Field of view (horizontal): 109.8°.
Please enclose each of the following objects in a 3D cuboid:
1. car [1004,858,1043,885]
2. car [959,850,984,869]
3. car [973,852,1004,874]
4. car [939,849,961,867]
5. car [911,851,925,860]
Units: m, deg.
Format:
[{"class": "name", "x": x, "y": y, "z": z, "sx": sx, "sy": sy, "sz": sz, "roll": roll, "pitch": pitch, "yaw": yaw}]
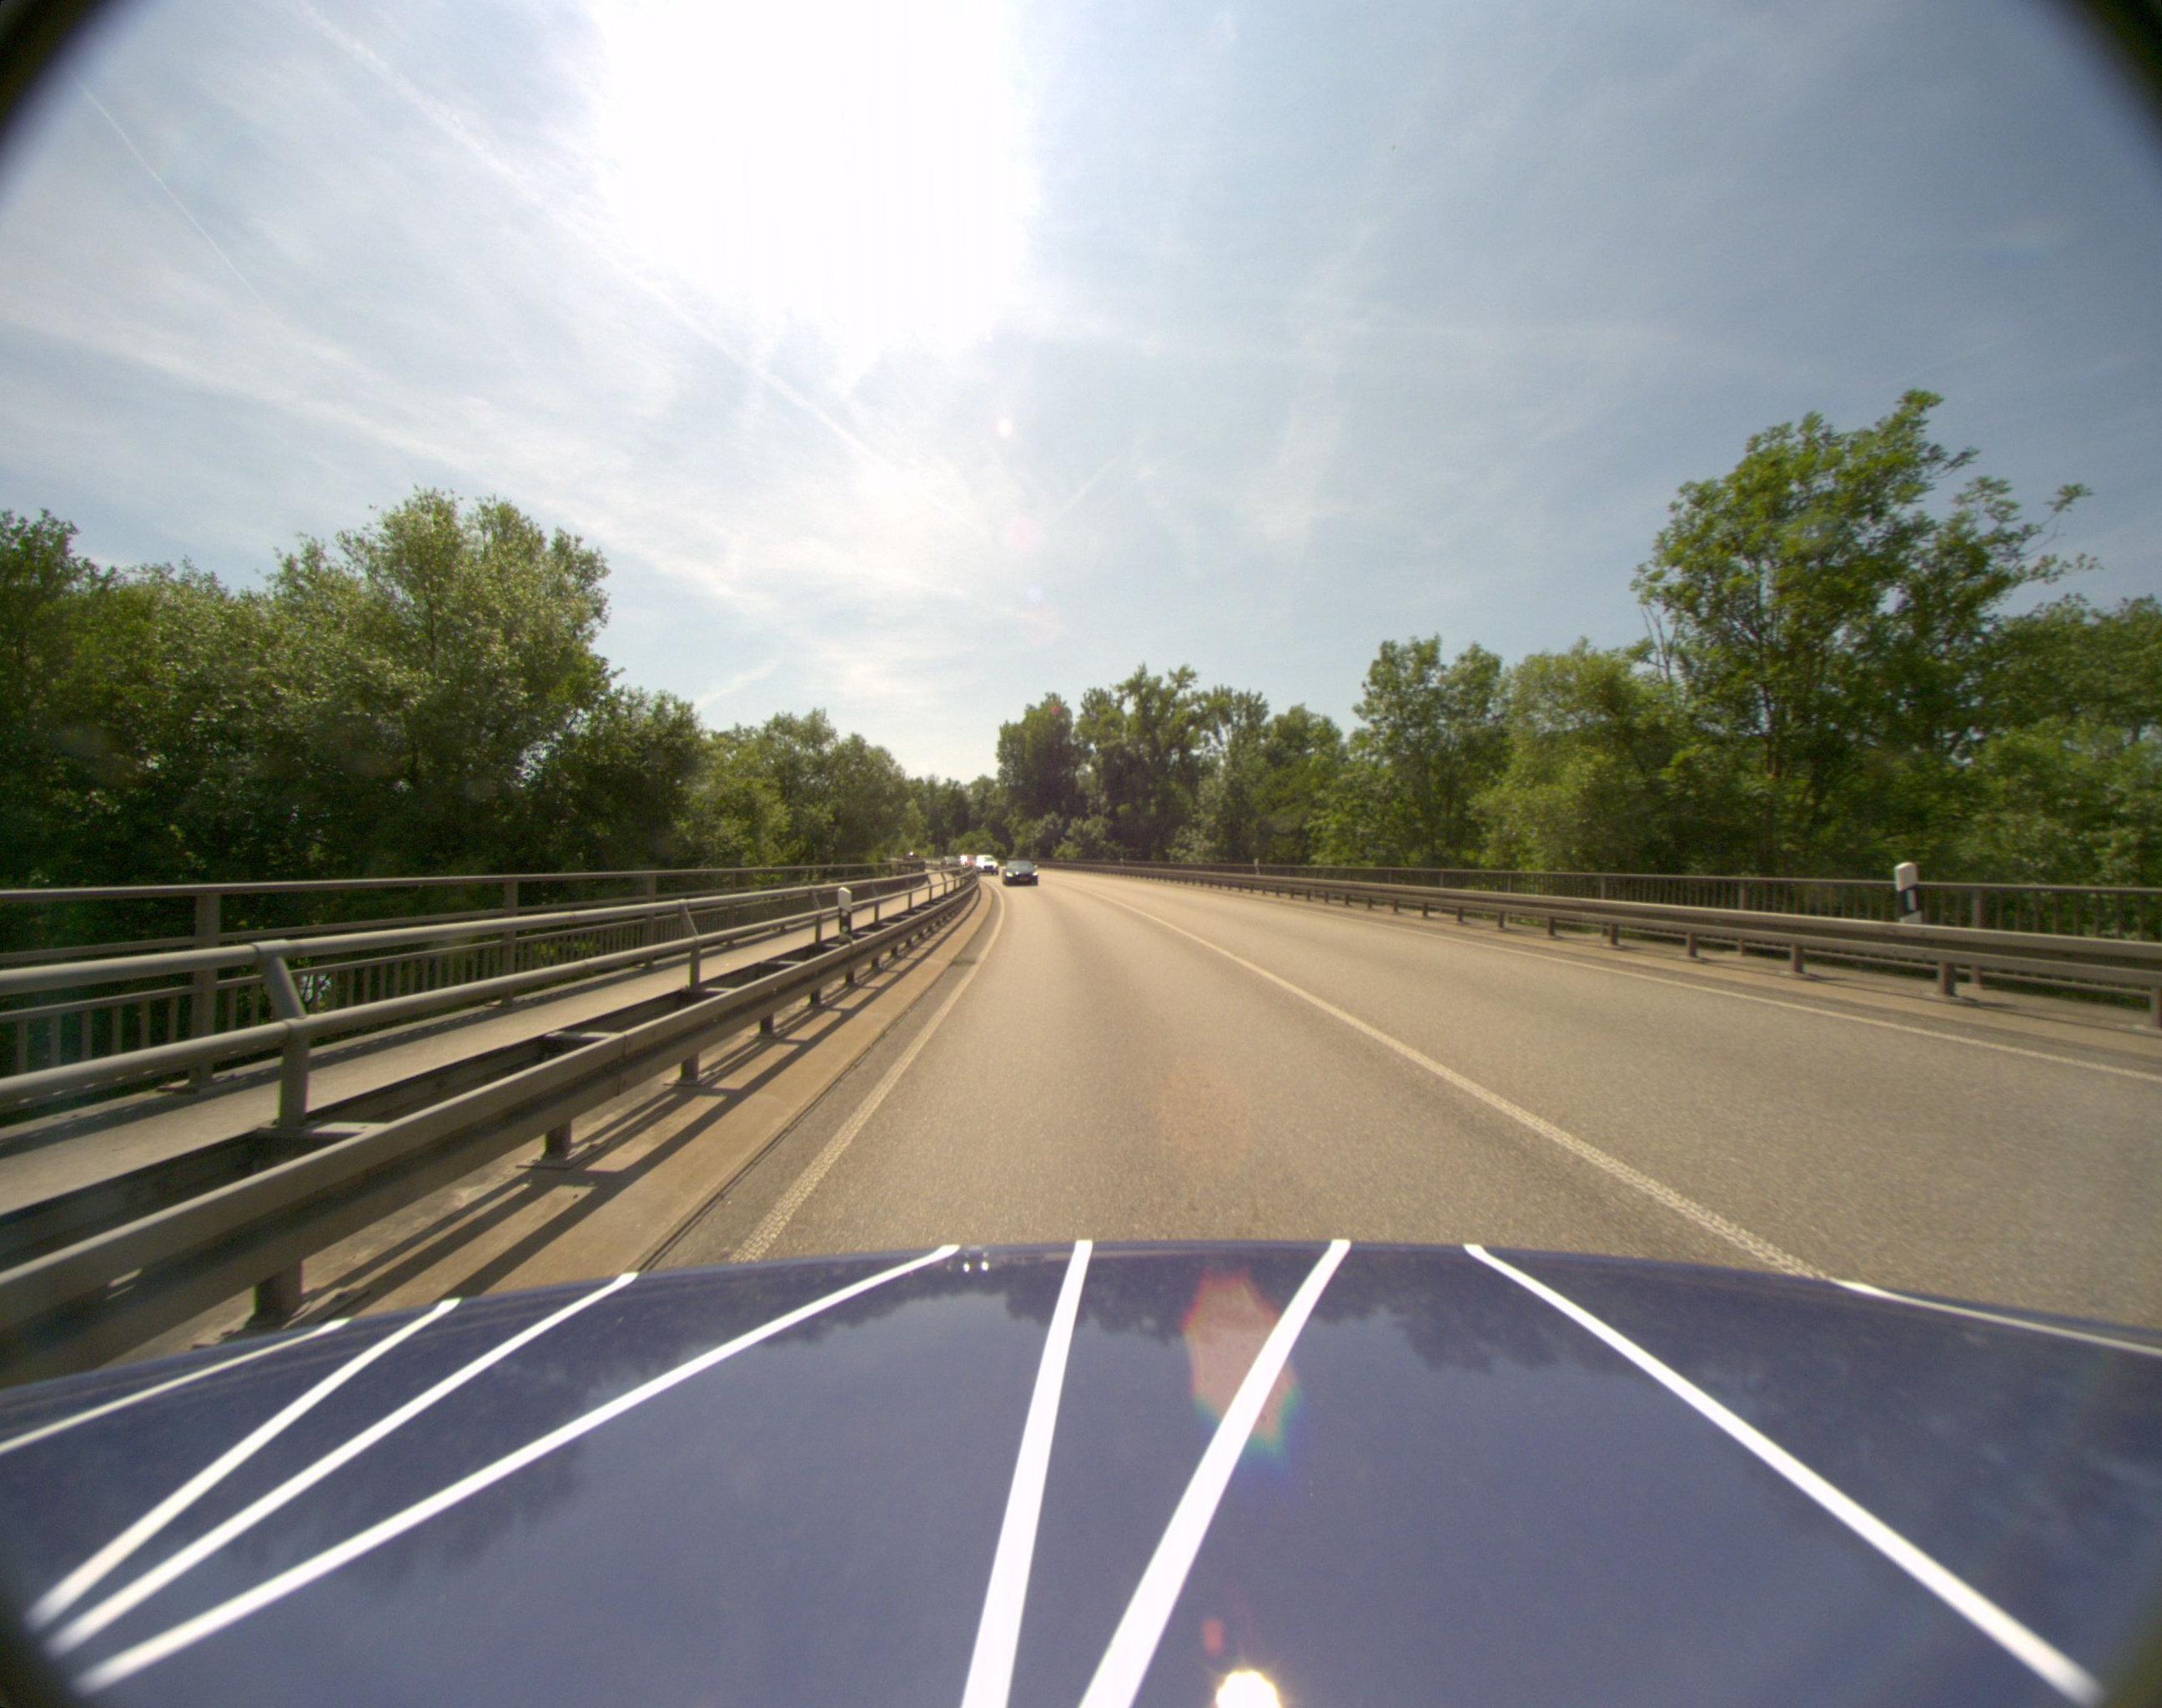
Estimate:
[{"class": "car", "x": -3.322, "y": 0.951, "z": 43.299, "sx": 1.910, "sy": 1.413, "sz": 3.947, "roll": -2, "pitch": 0, "yaw": -8}, {"class": "car", "x": -11.100, "y": 0.561, "z": 76.662, "sx": 2.001, "sy": 1.765, "sz": 3.995, "roll": -3, "pitch": 1, "yaw": -14}, {"class": "car", "x": -7.828, "y": 0.722, "z": 64.001, "sx": 1.911, "sy": 1.638, "sz": 3.944, "roll": -3, "pitch": 1, "yaw": -16}, {"class": "car", "x": -15.640, "y": 0.481, "z": 90.341, "sx": 2.001, "sy": 2.002, "sz": 3.994, "roll": -3, "pitch": 1, "yaw": -17}, {"class": "car", "x": -28.216, "y": 0.300, "z": 131.411, "sx": 1.826, "sy": 1.515, "sz": 3.943, "roll": -2, "pitch": 1, "yaw": -22}]
